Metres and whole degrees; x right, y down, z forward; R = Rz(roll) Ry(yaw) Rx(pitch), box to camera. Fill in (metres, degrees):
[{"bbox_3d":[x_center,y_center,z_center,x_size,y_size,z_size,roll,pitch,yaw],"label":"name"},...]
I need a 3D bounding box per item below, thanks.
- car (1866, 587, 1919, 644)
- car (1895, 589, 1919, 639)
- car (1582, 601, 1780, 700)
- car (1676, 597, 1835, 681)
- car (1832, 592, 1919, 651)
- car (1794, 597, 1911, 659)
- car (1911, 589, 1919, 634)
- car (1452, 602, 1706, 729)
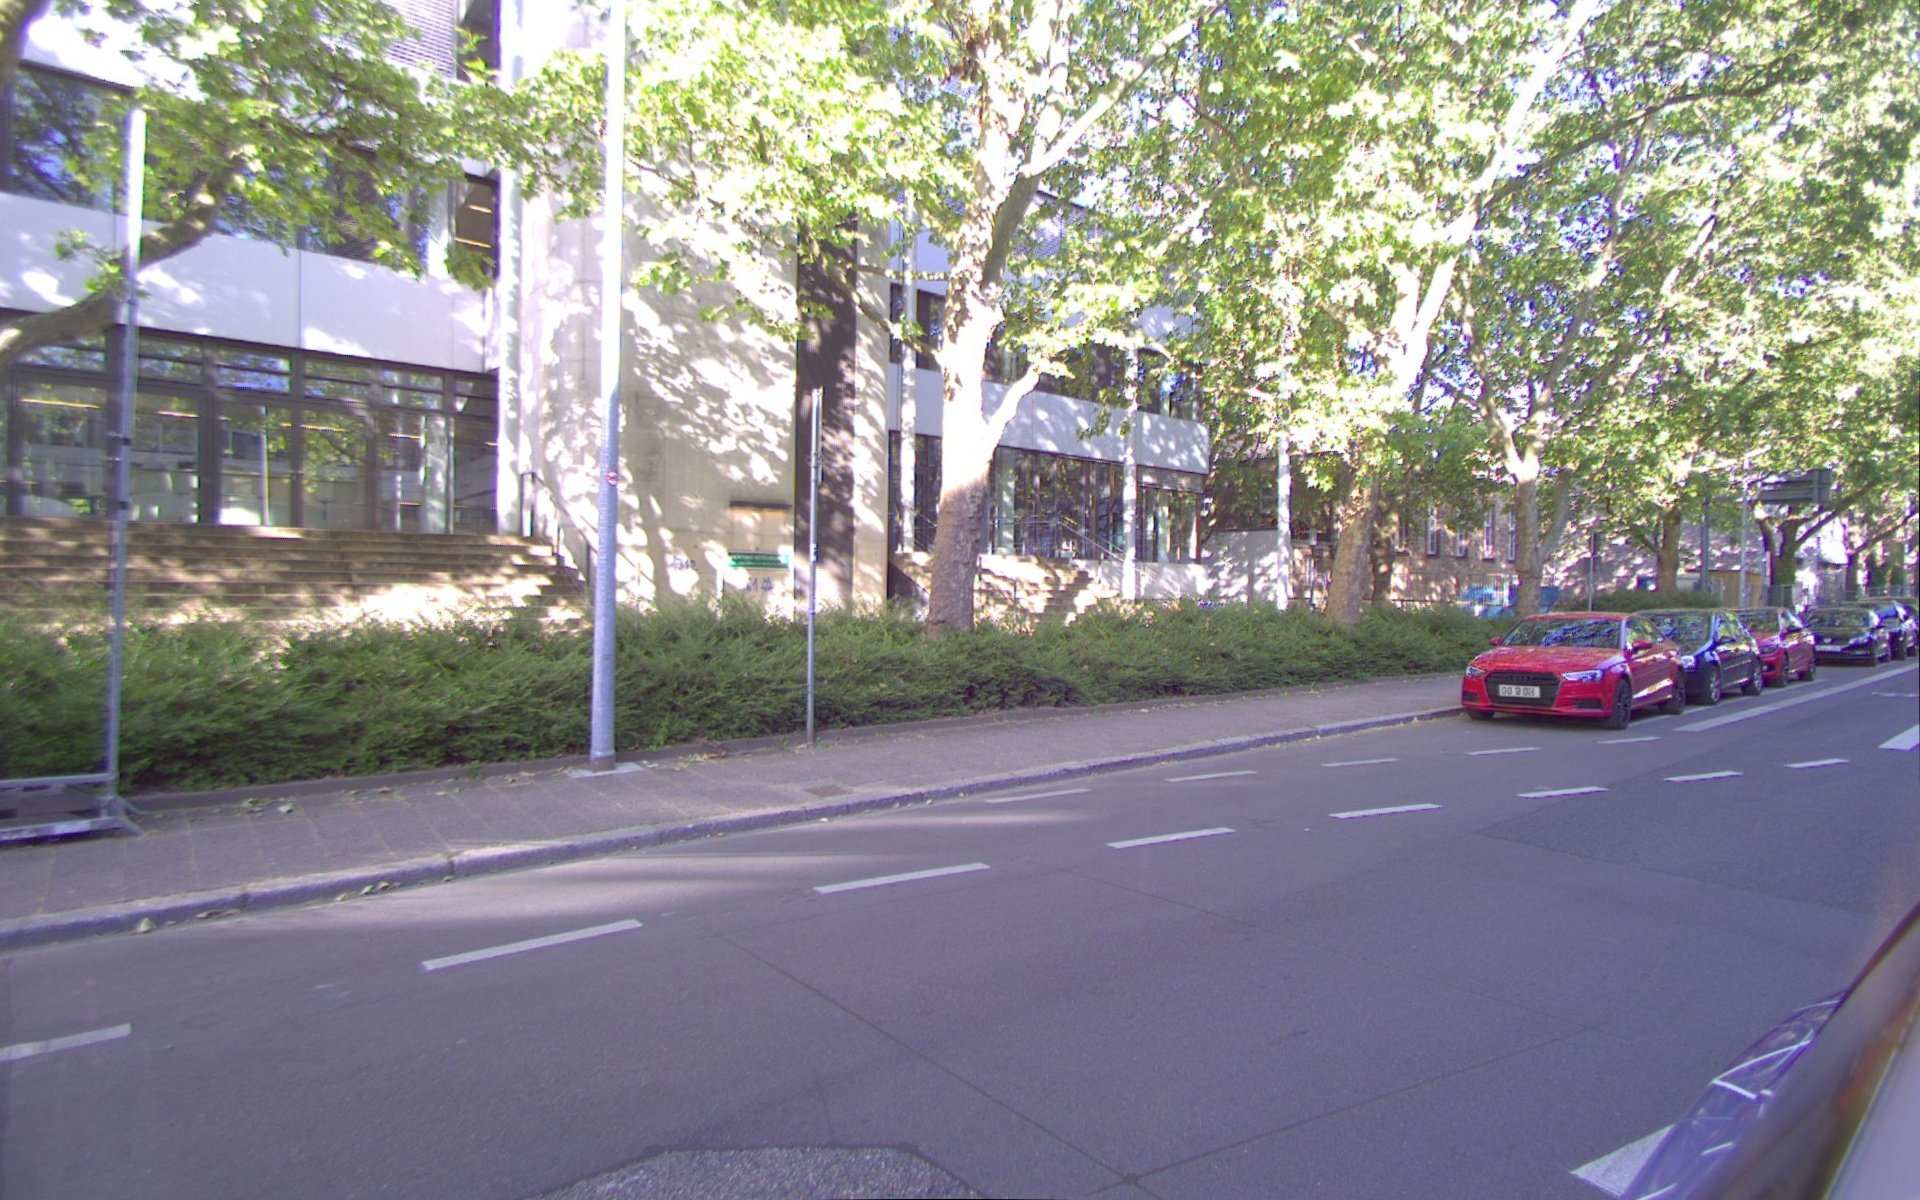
[{"bbox_3d":[31.066,0.484,33.017,4.271,1.777,1.788,0,-1,-42],"label":"car"},{"bbox_3d":[35.919,0.478,37.253,4.475,1.777,1.788,0,-1,-42],"label":"car"},{"bbox_3d":[11.962,0.736,16.689,4.092,1.431,1.815,0,-1,-42],"label":"car"},{"bbox_3d":[15.868,0.698,20.110,4.092,1.502,1.815,0,-1,-42],"label":"car"},{"bbox_3d":[26.605,0.585,29.135,4.092,1.573,1.788,0,-1,-42],"label":"car"},{"bbox_3d":[23.060,0.676,26.103,4.092,1.478,1.788,0,-1,-42],"label":"car"},{"bbox_3d":[39.636,0.433,40.403,4.475,1.777,2.040,0,-1,-42],"label":"car"},{"bbox_3d":[8.369,0.751,13.550,4.092,1.431,1.815,0,-1,-42],"label":"car"}]
